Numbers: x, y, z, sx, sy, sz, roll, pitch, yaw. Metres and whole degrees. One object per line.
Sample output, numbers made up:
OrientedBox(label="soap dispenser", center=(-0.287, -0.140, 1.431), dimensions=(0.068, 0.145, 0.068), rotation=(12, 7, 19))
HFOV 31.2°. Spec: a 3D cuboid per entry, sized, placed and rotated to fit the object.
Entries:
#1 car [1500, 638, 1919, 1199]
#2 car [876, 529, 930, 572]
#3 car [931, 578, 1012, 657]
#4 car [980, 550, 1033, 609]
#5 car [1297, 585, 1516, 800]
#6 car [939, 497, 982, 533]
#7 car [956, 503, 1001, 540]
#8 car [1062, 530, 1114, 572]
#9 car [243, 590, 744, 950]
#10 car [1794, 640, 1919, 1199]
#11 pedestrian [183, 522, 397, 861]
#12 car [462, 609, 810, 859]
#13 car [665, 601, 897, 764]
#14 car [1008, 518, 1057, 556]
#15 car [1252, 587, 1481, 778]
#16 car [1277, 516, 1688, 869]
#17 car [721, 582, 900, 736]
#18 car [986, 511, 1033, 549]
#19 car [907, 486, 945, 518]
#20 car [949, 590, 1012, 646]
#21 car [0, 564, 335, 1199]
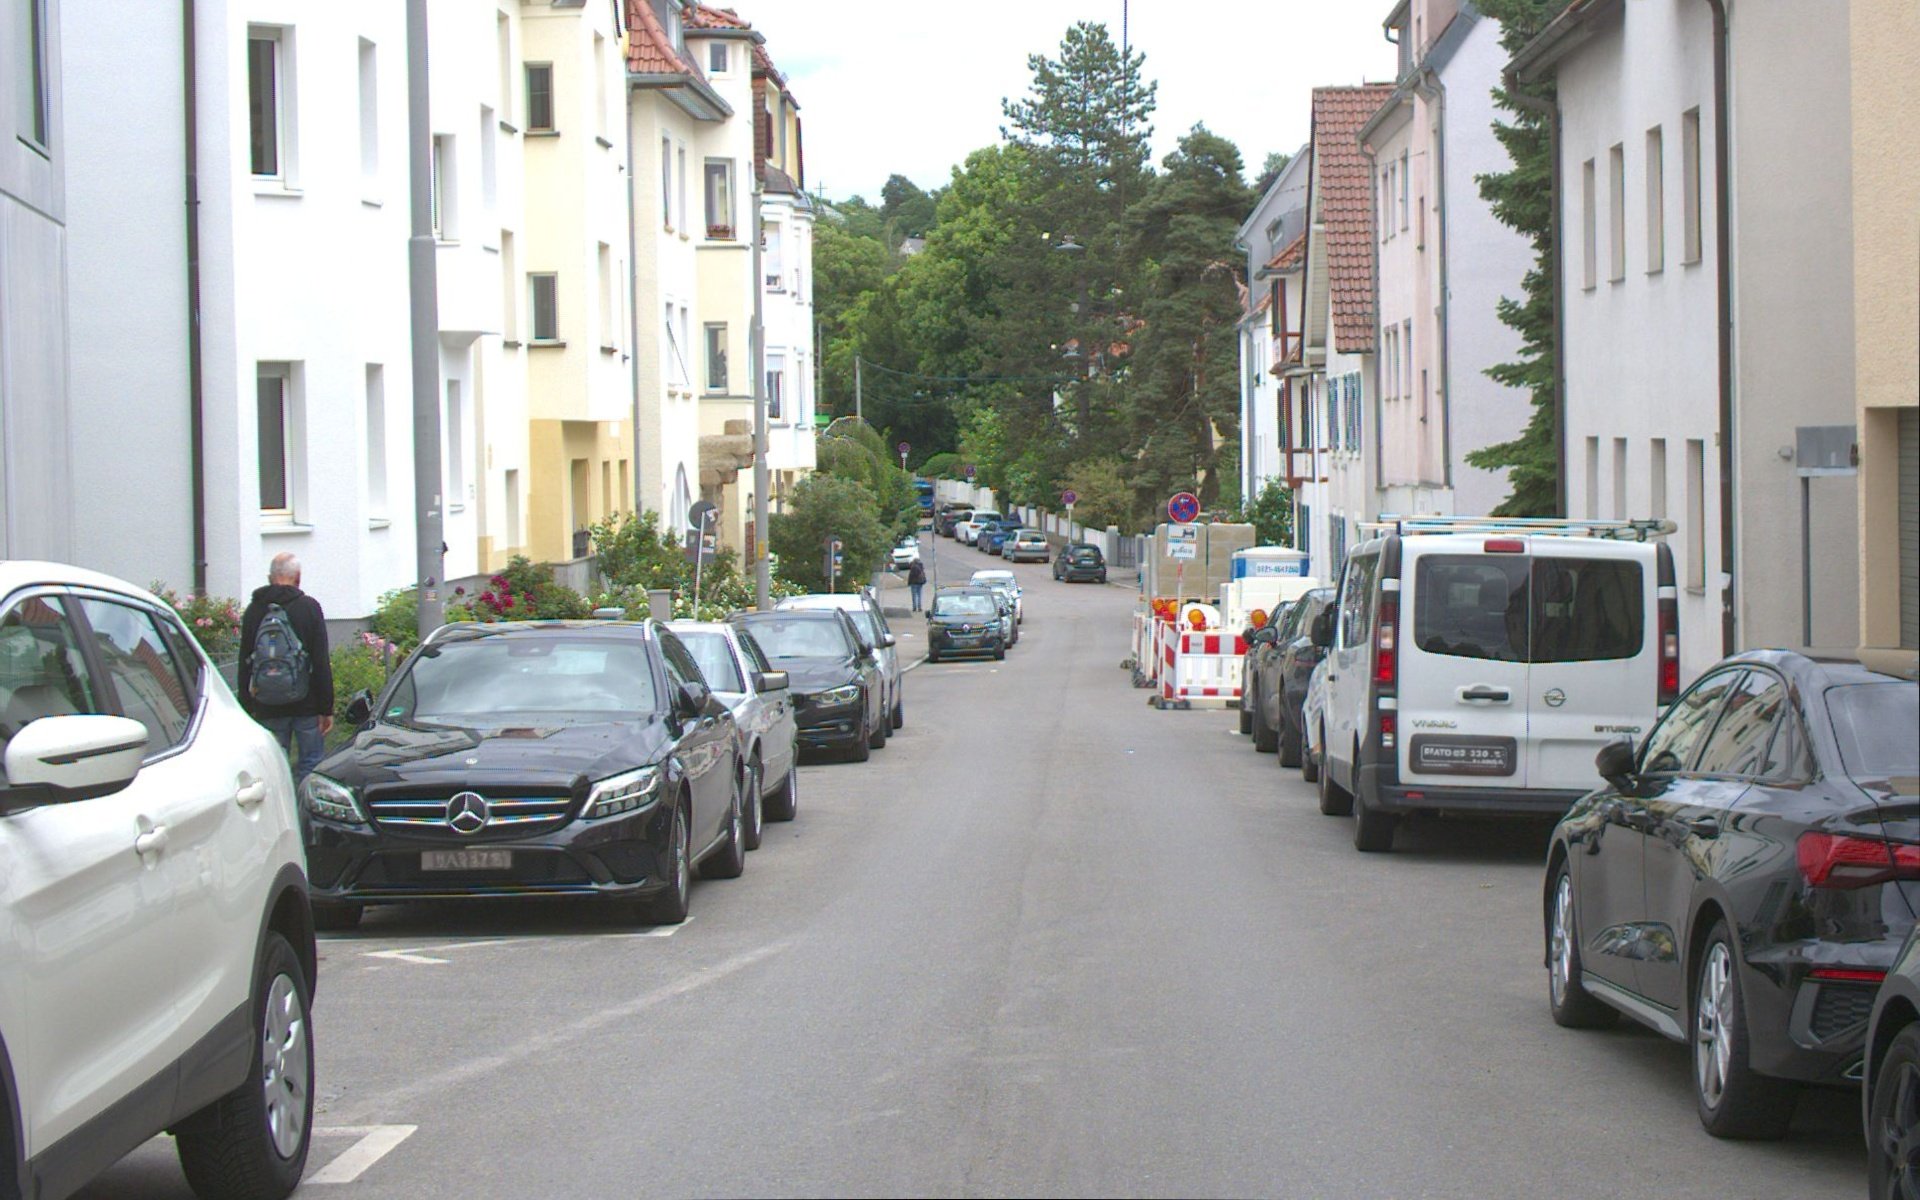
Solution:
OrientedBox(label="car", center=(2.989, 0.842, 10.937), dimensions=(1.852, 1.399, 4.575), rotation=(1, -1, 1))
OrientedBox(label="car", center=(-2.462, -2.138, 147.767), dimensions=(1.672, 1.651, 3.865), rotation=(-2, 3, -11))
OrientedBox(label="car", center=(0.246, 0.406, 82.957), dimensions=(1.845, 1.809, 4.545), rotation=(-1, 0, -1))
OrientedBox(label="car", center=(1.526, -0.685, 111.747), dimensions=(1.672, 1.651, 3.864), rotation=(-1, 3, 1))
OrientedBox(label="car", center=(3.534, 0.697, 27.558), dimensions=(1.487, 1.591, 2.790), rotation=(1, 1, 3))
OrientedBox(label="car", center=(0.015, -4.123, 166.635), dimensions=(1.634, 1.532, 3.531), rotation=(1, 4, -7))
OrientedBox(label="car", center=(0.866, -3.686, 161.110), dimensions=(1.634, 1.532, 3.531), rotation=(1, 4, -7))
OrientedBox(label="car", center=(5.143, -1.985, 138.360), dimensions=(1.634, 1.479, 3.531), rotation=(1, 4, -6))
OrientedBox(label="car", center=(-2.189, 0.742, 17.352), dimensions=(1.896, 1.522, 4.471), rotation=(-1, 1, 0))
OrientedBox(label="car", center=(2.972, 0.840, 6.265), dimensions=(1.852, 1.398, 3.967), rotation=(1, 1, -1))
OrientedBox(label="pedestrian", center=(-3.811, 0.506, 19.590), dimensions=(0.817, 1.878, 0.846), rotation=(-1, 0, 25))
OrientedBox(label="car", center=(-2.058, 0.812, 23.204), dimensions=(1.845, 1.408, 5.062), rotation=(-1, 1, 0))
OrientedBox(label="car", center=(-1.679, 0.756, 33.713), dimensions=(1.845, 1.452, 4.504), rotation=(-1, 0, 2))
OrientedBox(label="car", center=(3.171, -2.765, 150.307), dimensions=(1.634, 1.479, 3.531), rotation=(1, 4, -7))
OrientedBox(label="car", center=(3.729, 0.711, 32.184), dimensions=(1.713, 1.591, 4.498), rotation=(1, 1, 2))
OrientedBox(label="car", center=(3.306, 0.500, 22.881), dimensions=(1.905, 2.023, 5.733), rotation=(1, 1, 1))
OrientedBox(label="car", center=(-1.660, 0.635, 39.559), dimensions=(1.845, 1.625, 4.287), rotation=(-1, 1, 0))
OrientedBox(label="car", center=(2.217, -3.158, 154.906), dimensions=(1.634, 1.479, 3.531), rotation=(1, 4, -7))
OrientedBox(label="car", center=(-1.806, -5.186, 181.357), dimensions=(1.634, 1.532, 3.531), rotation=(1, 4, -7))
OrientedBox(label="car", center=(0.571, 0.462, 93.407), dimensions=(1.642, 1.412, 3.984), rotation=(-1, 1, 1))
OrientedBox(label="car", center=(-2.562, 0.698, 6.823), dimensions=(1.845, 1.510, 4.241), rotation=(-1, 1, 0))
